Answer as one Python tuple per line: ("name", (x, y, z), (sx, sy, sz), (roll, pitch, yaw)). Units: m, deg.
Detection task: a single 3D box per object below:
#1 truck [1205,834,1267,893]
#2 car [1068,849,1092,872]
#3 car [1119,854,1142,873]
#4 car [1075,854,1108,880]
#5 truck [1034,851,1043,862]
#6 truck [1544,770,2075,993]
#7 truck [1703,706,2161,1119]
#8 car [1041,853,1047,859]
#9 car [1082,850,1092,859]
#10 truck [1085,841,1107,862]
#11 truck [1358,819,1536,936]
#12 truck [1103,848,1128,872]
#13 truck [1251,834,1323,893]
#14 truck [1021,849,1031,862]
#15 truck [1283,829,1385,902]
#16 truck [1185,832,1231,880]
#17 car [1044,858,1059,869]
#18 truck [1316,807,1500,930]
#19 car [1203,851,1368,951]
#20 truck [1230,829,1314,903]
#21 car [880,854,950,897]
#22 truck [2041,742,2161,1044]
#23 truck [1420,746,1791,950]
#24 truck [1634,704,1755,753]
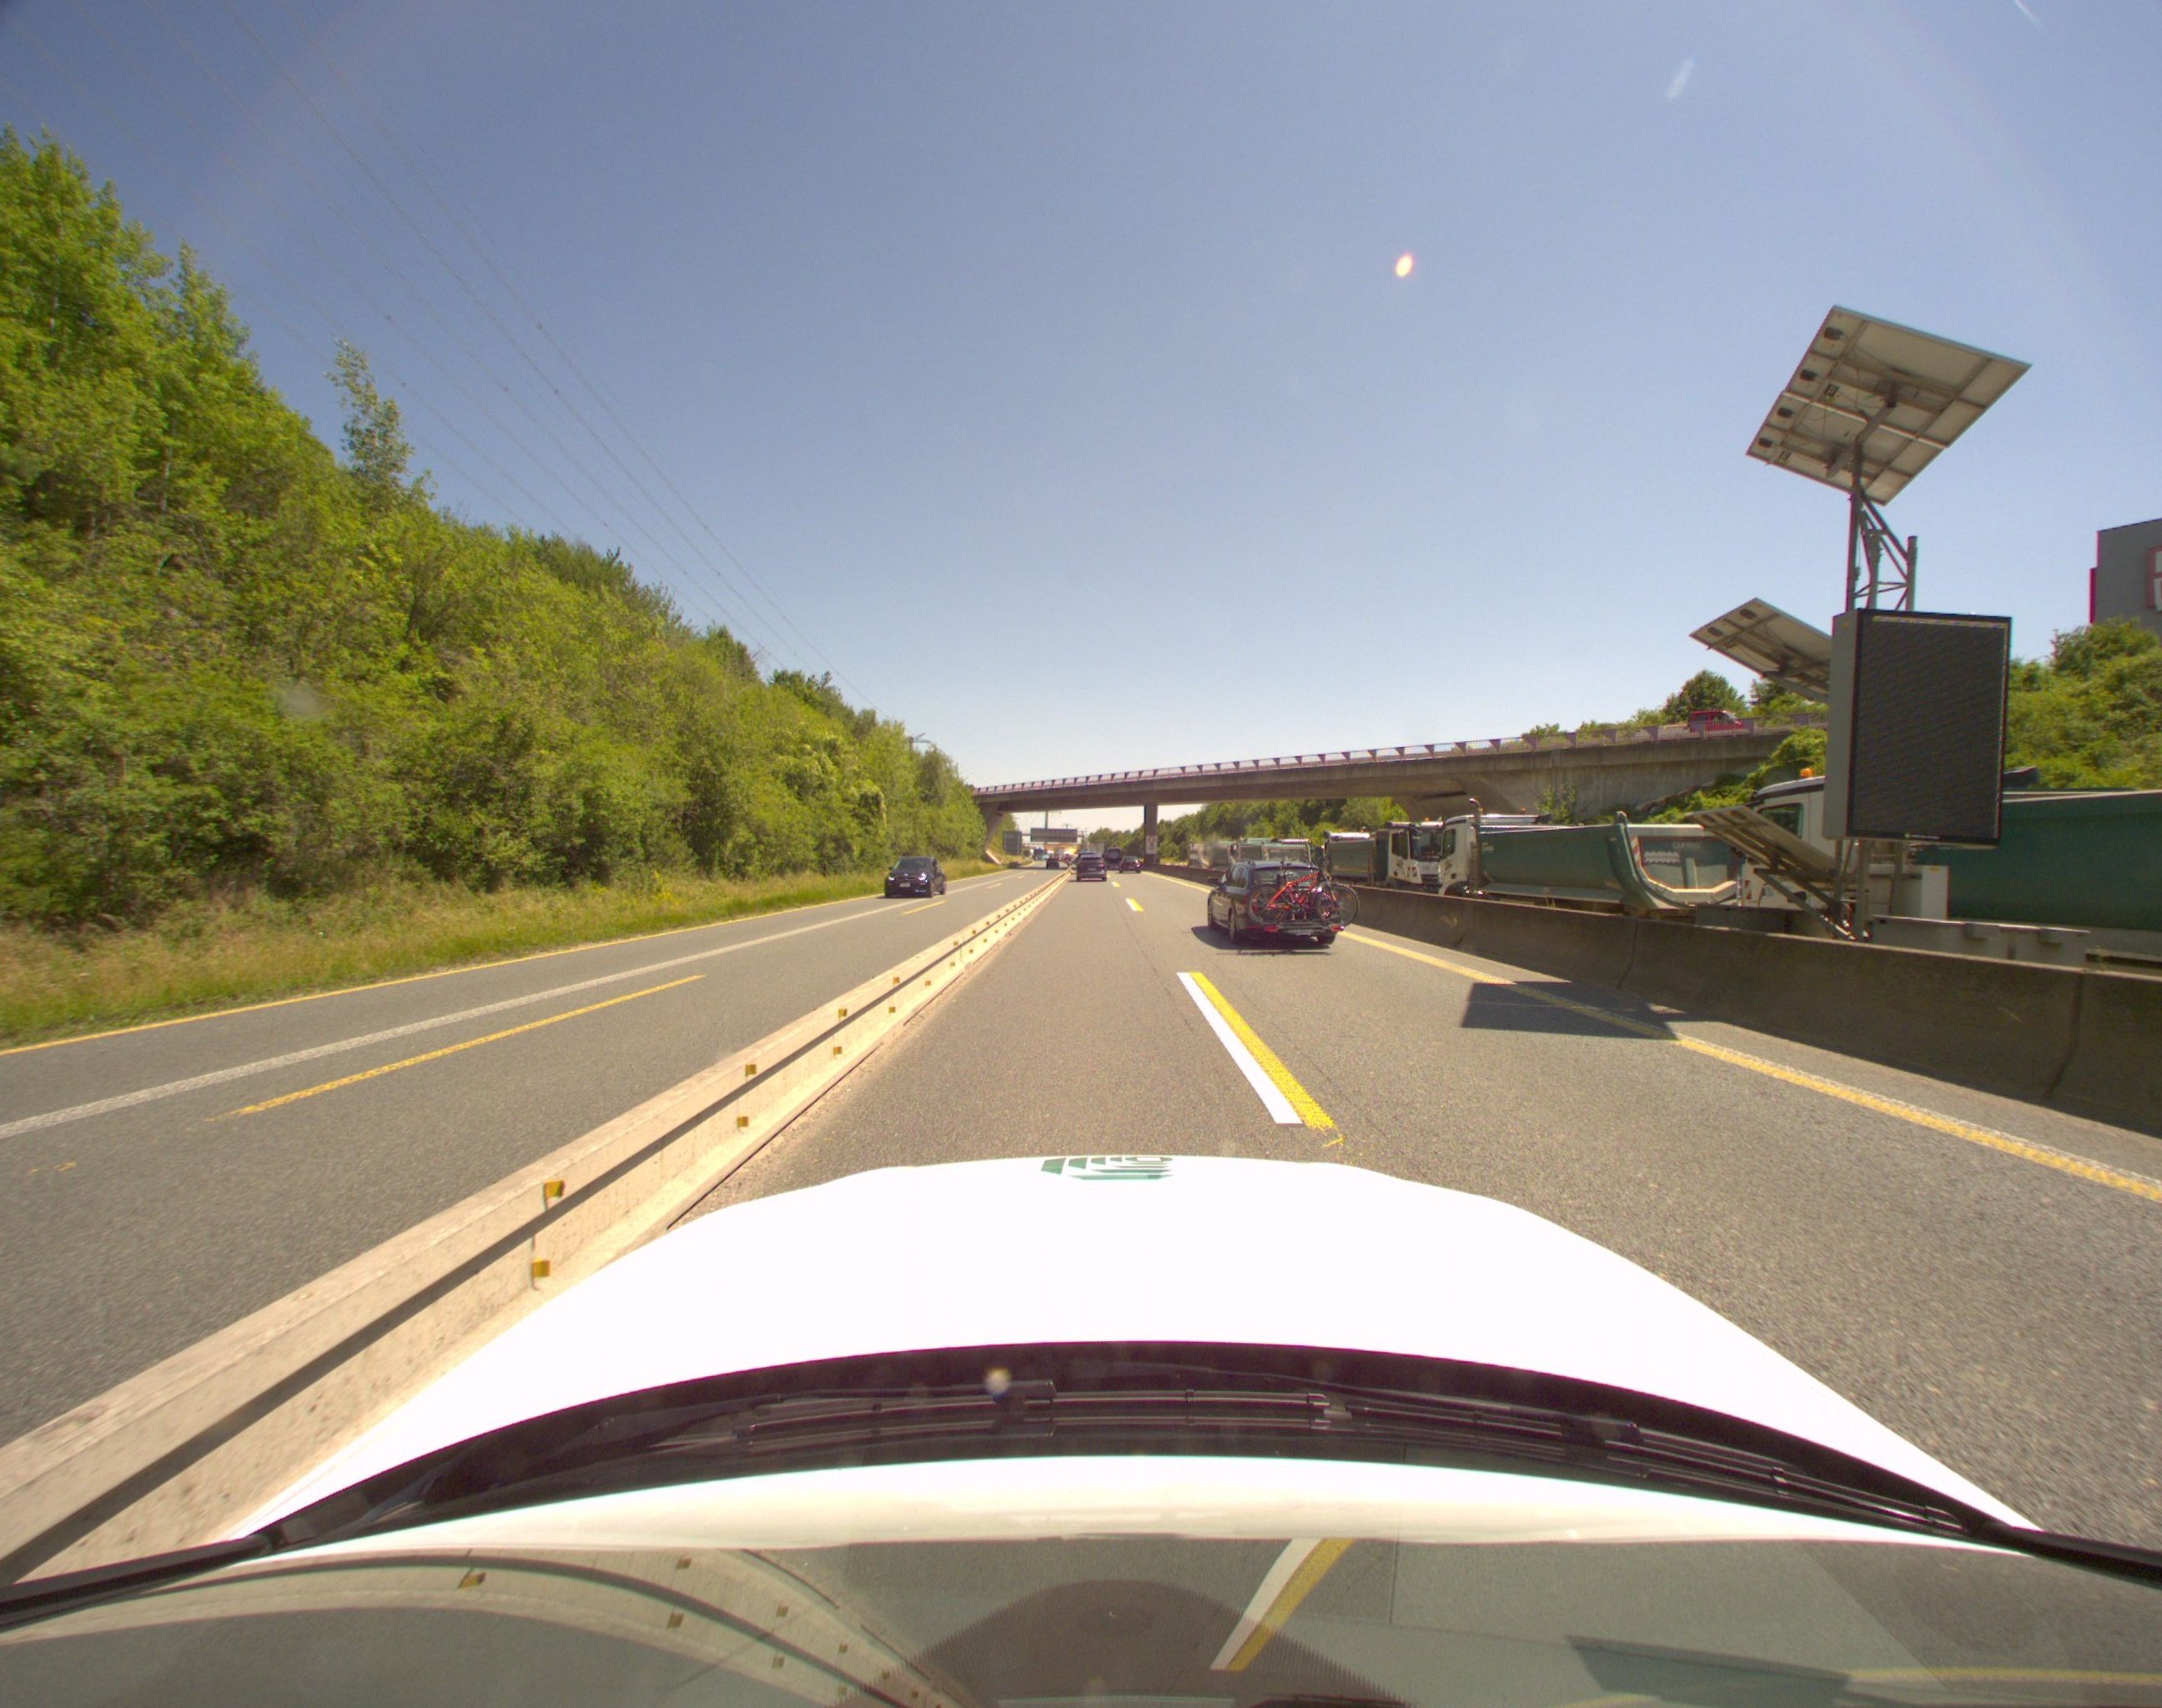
("truck", (10.849, 0.640, 57.921), (2.678, 3.856, 9.325), (0, 0, 1))
("car", (-0.061, 0.559, 70.839), (1.892, 1.968, 4.278), (0, 0, 2))
("car", (4.297, 0.801, 70.700), (1.892, 1.585, 4.278), (0, 0, 2))
("car", (0.701, 0.771, 49.641), (1.892, 1.505, 4.278), (0, 0, 2))
("truck", (-12.520, 0.603, 241.485), (2.503, 3.186, 10.095), (0, 0, -4))
("truck", (13.832, 0.425, 17.210), (2.678, 3.378, 9.601), (0, 0, 0))
("truck", (10.658, 0.501, 7.675), (2.677, 3.557, 9.410), (0, 0, 2))
("car", (-11.820, 0.524, 257.315), (1.759, 1.838, 3.994), (0, -1, -4))
("car", (1.413, 0.068, 187.386), (1.895, 1.968, 4.270), (0, 0, -4))
("truck", (2.698, -0.488, 152.092), (3.286, 3.845, 10.095), (0, 0, -4))
("truck", (13.464, 0.772, 31.059), (2.678, 3.761, 9.325), (0, 0, 1))
("truck", (3.772, 0.588, 90.369), (2.398, 2.558, 7.499), (0, 0, 0))
("truck", (13.973, 0.597, 56.025), (2.678, 3.727, 9.324), (0, 0, 0))
("truck", (-13.217, 0.376, 196.265), (2.503, 3.186, 10.095), (0, 0, -4))
("truck", (13.468, 0.573, 44.290), (2.678, 3.557, 9.324), (0, 0, 0))
("truck", (10.857, 0.179, 70.421), (2.678, 3.843, 9.325), (0, 0, 1))
("car", (-3.775, 1.192, 105.345), (1.668, 1.393, 4.071), (0, -1, 1))
("truck", (10.837, 0.434, 28.276), (2.678, 3.557, 9.324), (0, 0, 0))
("car", (3.429, 0.728, 14.681), (1.892, 1.490, 4.949), (0, -1, 2))
("truck", (10.669, 0.621, 46.457), (2.678, 3.761, 9.325), (0, 0, 1))
("car", (-6.408, 0.796, 31.901), (1.772, 1.577, 4.071), (0, 0, 2))
("truck", (13.298, 0.424, 5.451), (2.677, 3.378, 9.607), (0, 0, 2))
("truck", (11.118, -0.093, 18.916), (2.678, 3.557, 9.324), (0, 0, 0))
("truck", (36.542, -7.420, 48.664), (1.945, 2.066, 5.453), (0, -1, -37))
